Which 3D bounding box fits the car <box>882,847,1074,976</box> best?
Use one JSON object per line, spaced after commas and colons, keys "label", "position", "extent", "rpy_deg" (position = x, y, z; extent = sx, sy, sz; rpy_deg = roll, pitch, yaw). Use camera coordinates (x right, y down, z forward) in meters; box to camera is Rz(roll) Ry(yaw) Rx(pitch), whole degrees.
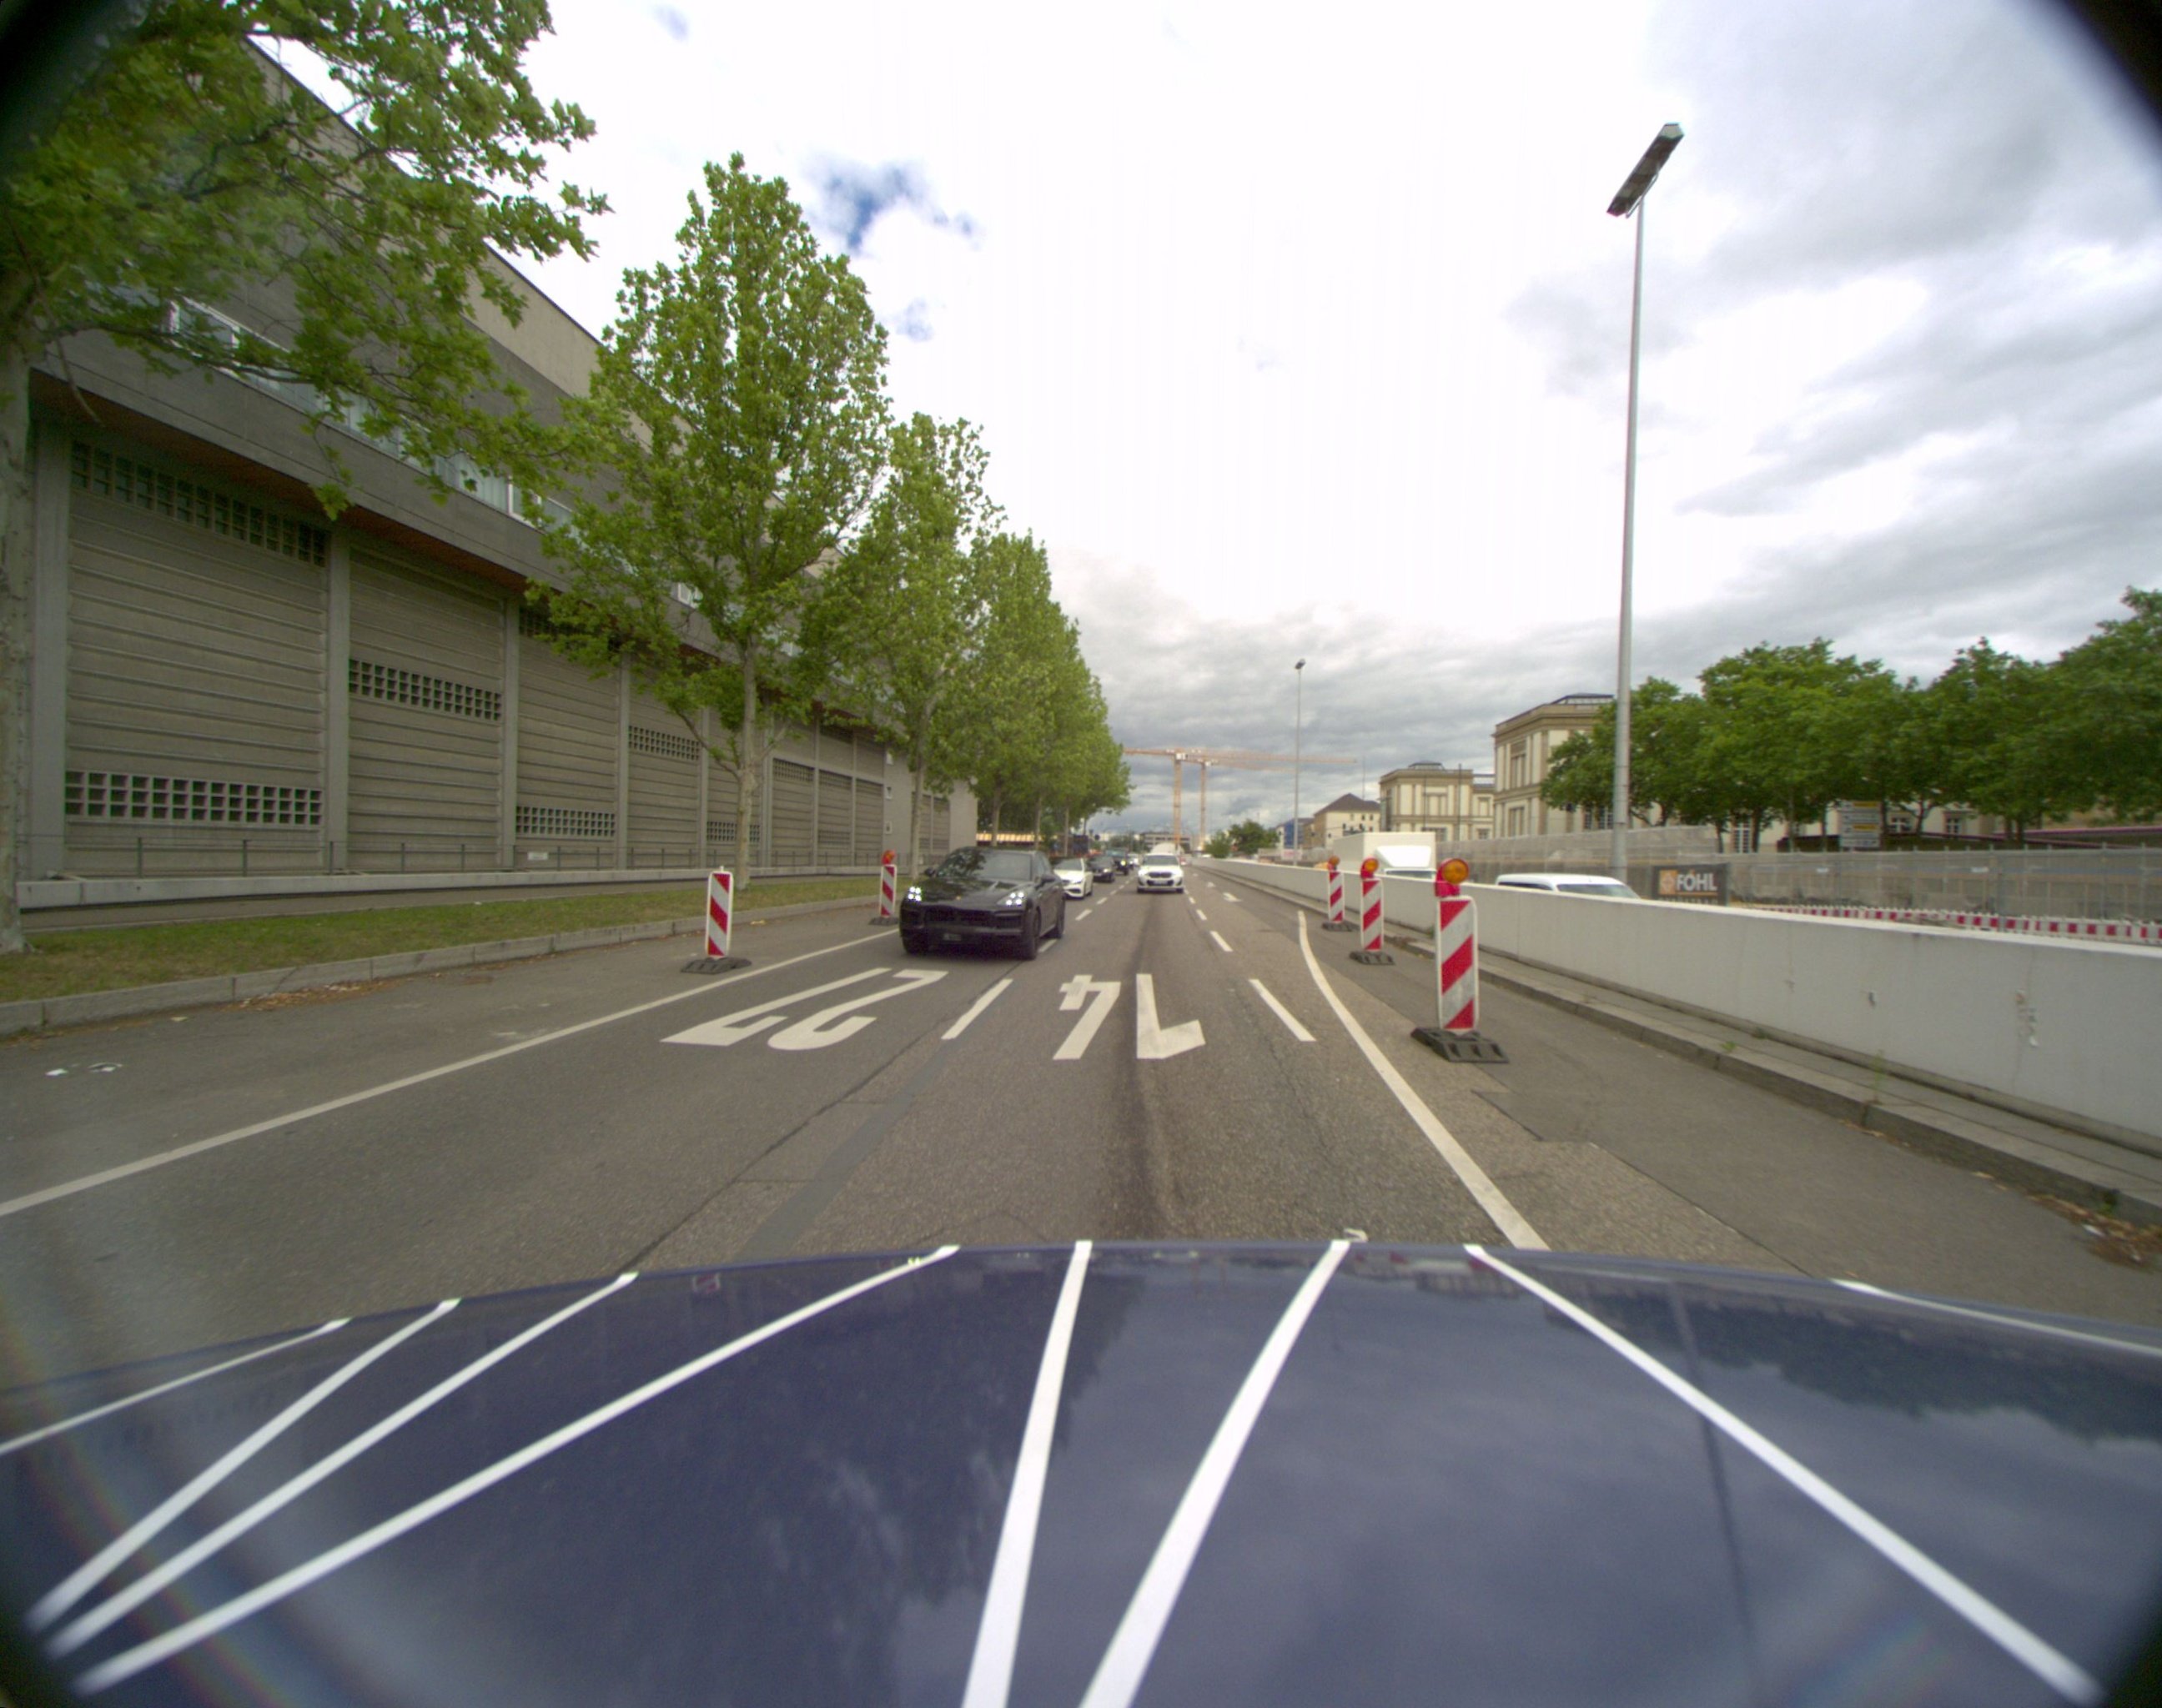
{"label": "car", "position": [-1.448, 0.774, 12.685], "extent": [1.954, 1.638, 4.611], "rpy_deg": [3, 1, 7]}

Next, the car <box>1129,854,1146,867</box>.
{"label": "car", "position": [7.503, 0.808, 100.176], "extent": [1.997, 1.632, 4.002], "rpy_deg": [1, 0, 6]}

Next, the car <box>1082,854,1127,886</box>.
{"label": "car", "position": [1.305, 0.830, 40.596], "extent": [1.955, 1.499, 4.272], "rpy_deg": [3, 1, 6]}

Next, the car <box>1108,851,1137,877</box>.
{"label": "car", "position": [3.085, 0.693, 55.609], "extent": [1.811, 1.815, 3.775], "rpy_deg": [2, 0, 7]}

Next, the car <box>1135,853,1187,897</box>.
{"label": "car", "position": [3.142, 0.801, 30.413], "extent": [1.812, 1.595, 3.713], "rpy_deg": [-2, 0, 3]}

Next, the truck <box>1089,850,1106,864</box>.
{"label": "truck", "position": [4.513, 0.860, 207.293], "extent": [2.911, 3.653, 9.018], "rpy_deg": [1, 0, -10]}

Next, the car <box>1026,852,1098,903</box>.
{"label": "car", "position": [-0.572, 0.738, 26.679], "extent": [1.955, 1.499, 4.272], "rpy_deg": [4, 1, 5]}

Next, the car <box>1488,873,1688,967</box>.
{"label": "car", "position": [10.838, 1.316, 16.664], "extent": [1.997, 1.632, 4.002], "rpy_deg": [1, 0, 6]}

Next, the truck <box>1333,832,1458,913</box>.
{"label": "truck", "position": [11.828, 0.704, 29.266], "extent": [2.608, 2.695, 6.679], "rpy_deg": [1, -1, 6]}
